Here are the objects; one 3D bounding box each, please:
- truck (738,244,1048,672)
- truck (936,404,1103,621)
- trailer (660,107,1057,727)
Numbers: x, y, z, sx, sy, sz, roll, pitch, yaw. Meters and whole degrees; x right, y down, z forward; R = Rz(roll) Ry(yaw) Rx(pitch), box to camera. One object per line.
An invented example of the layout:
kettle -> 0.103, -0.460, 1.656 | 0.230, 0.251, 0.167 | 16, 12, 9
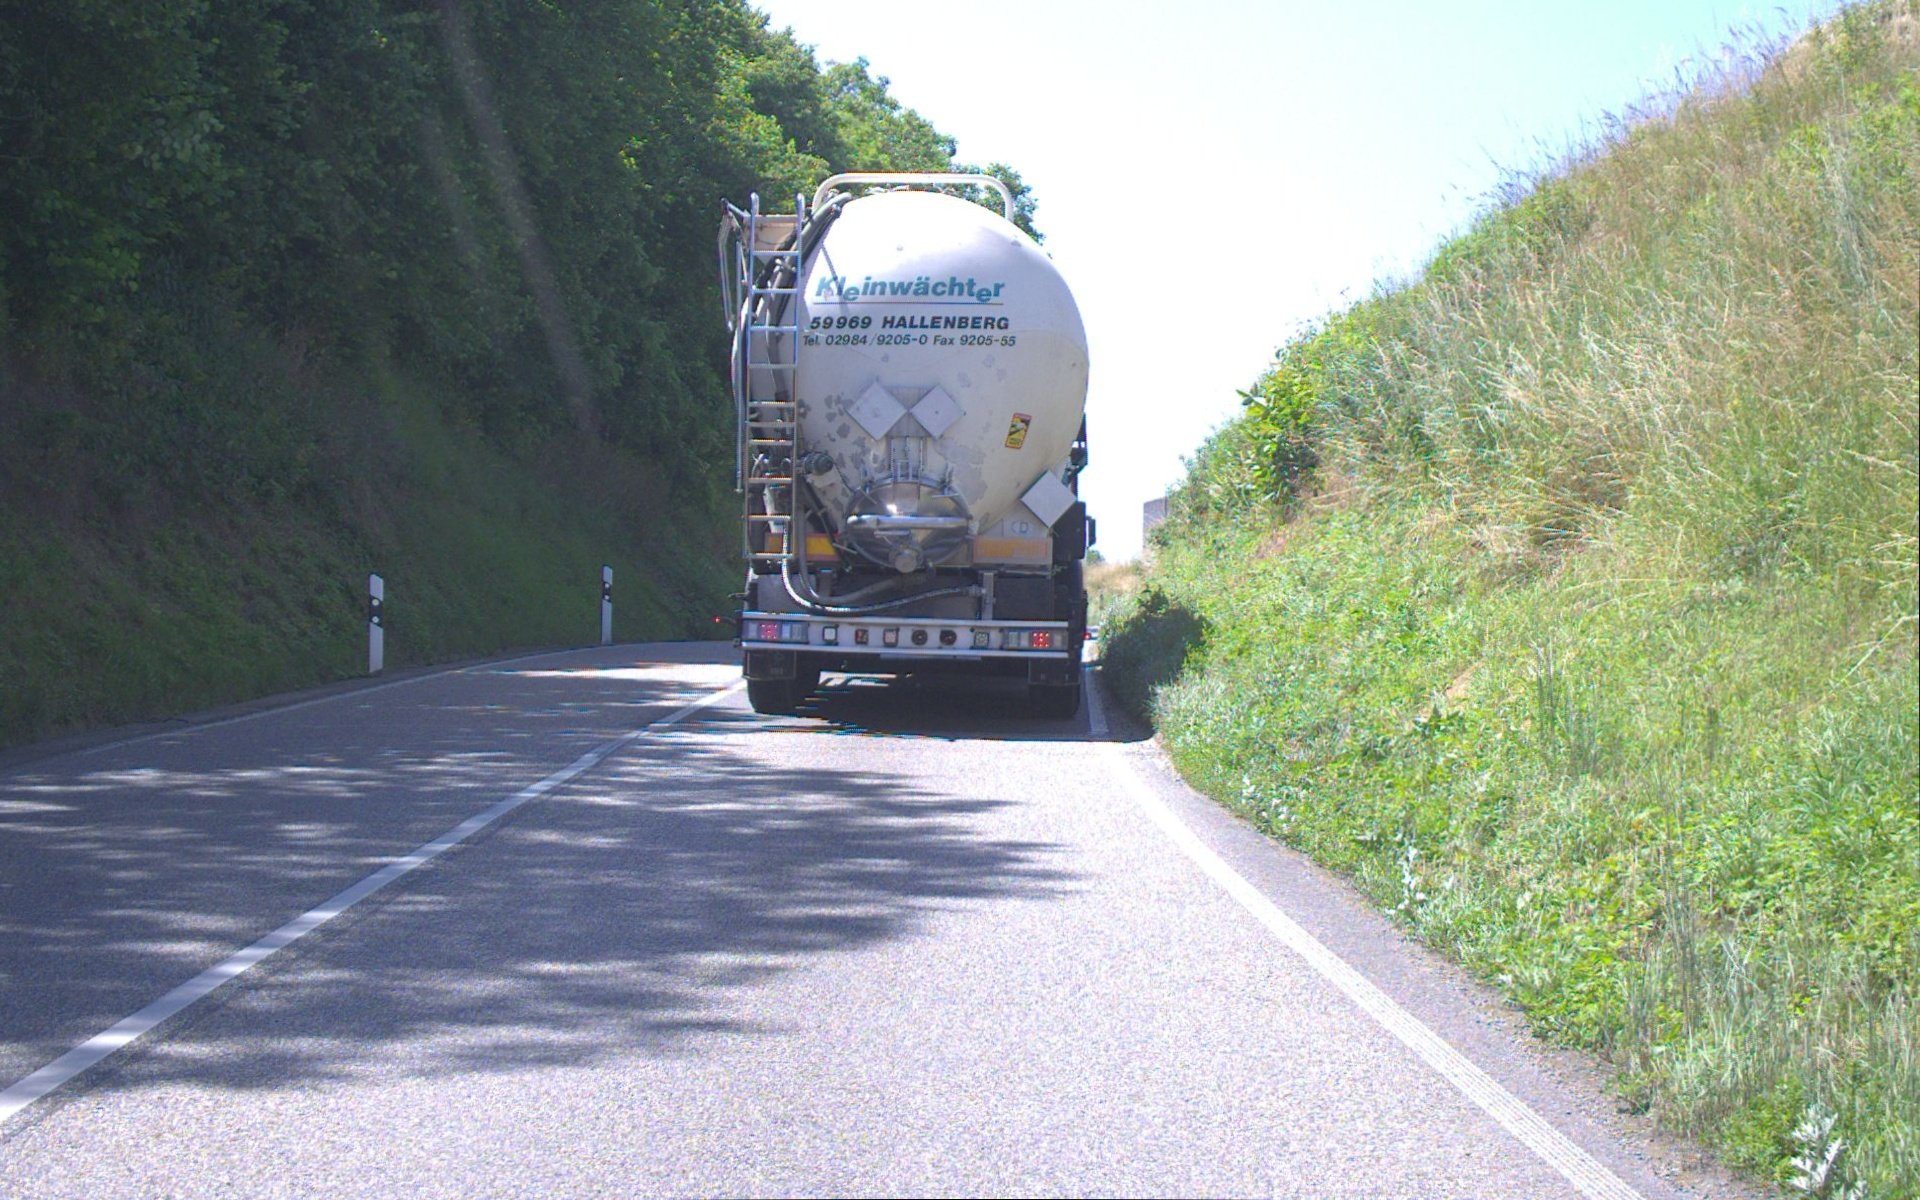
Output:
truck -> -0.524, -1.363, 35.122 | 2.727, 3.916, 7.263 | 0, 1, 2
truck -> 1.382, -1.894, 76.938 | 3.190, 4.295, 11.800 | 4, 1, 1
trailer -> -0.616, -1.381, 29.232 | 2.661, 4.174, 11.905 | 0, 1, 1
